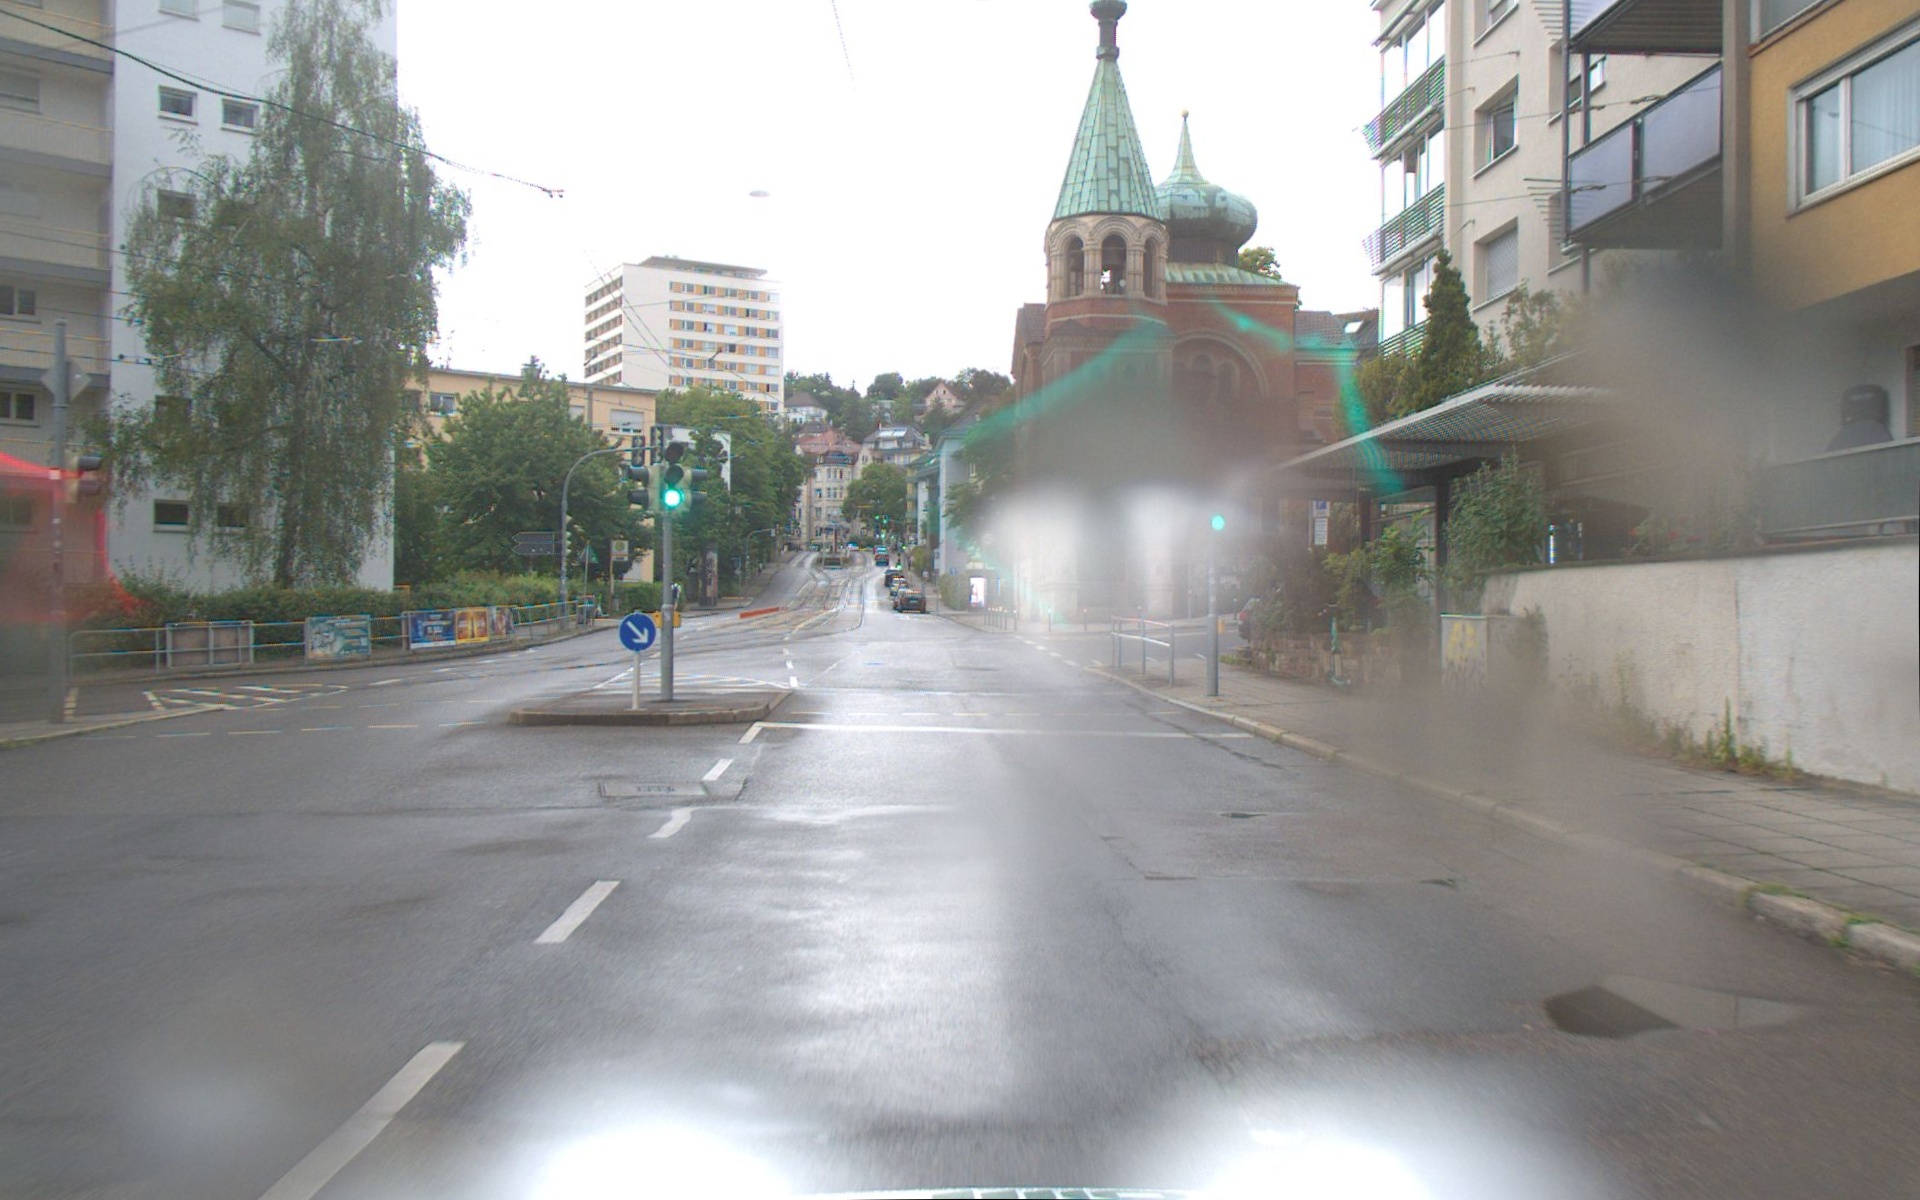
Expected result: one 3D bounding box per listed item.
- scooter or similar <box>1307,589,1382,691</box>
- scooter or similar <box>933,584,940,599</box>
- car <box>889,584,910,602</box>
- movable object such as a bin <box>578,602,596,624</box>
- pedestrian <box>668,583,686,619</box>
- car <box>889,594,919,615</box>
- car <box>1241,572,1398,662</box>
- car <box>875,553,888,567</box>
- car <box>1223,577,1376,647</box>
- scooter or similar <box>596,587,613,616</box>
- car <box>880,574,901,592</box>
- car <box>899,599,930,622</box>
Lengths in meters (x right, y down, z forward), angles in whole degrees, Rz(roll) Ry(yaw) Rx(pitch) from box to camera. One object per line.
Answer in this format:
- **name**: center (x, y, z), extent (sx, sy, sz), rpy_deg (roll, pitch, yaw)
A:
- **scooter or similar**: center (5.415, 0.554, 23.375), extent (0.524, 1.350, 1.658), rpy_deg (-4, 0, -2)
- **scooter or similar**: center (-2.115, -0.784, 148.947), extent (0.563, 1.270, 1.611), rpy_deg (1, 4, 2)
- **car**: center (-5.450, -0.657, 148.048), extent (1.671, 1.458, 4.099), rpy_deg (2, 2, -4)
- **movable object such as a bin**: center (-15.735, 0.564, 69.795), extent (0.674, 0.897, 0.759), rpy_deg (1, -1, -9)
- **pedestrian**: center (-15.422, 0.055, 90.161), extent (0.901, 1.878, 1.015), rpy_deg (2, -1, -8)
- **car**: center (-4.191, 0.332, 123.079), extent (1.902, 1.489, 4.201), rpy_deg (1, 0, -5)
- **car**: center (6.853, 0.369, 32.021), extent (1.816, 1.529, 4.446), rpy_deg (-3, -1, -3)
- **car**: center (-10.366, -5.271, 218.635), extent (1.766, 1.674, 3.998), rpy_deg (1, 0, -3)
- **car**: center (8.748, 0.266, 42.403), extent (1.965, 1.482, 4.426), rpy_deg (1, 4, 40)
- **scooter or similar**: center (-15.359, 0.090, 71.495), extent (0.561, 1.205, 1.597), rpy_deg (1, -1, -7)
- **car**: center (-6.951, -1.704, 164.325), extent (1.869, 1.670, 4.686), rpy_deg (2, 2, -4)
- **car**: center (-3.119, 0.700, 111.655), extent (1.821, 1.513, 4.640), rpy_deg (1, 0, -5)
